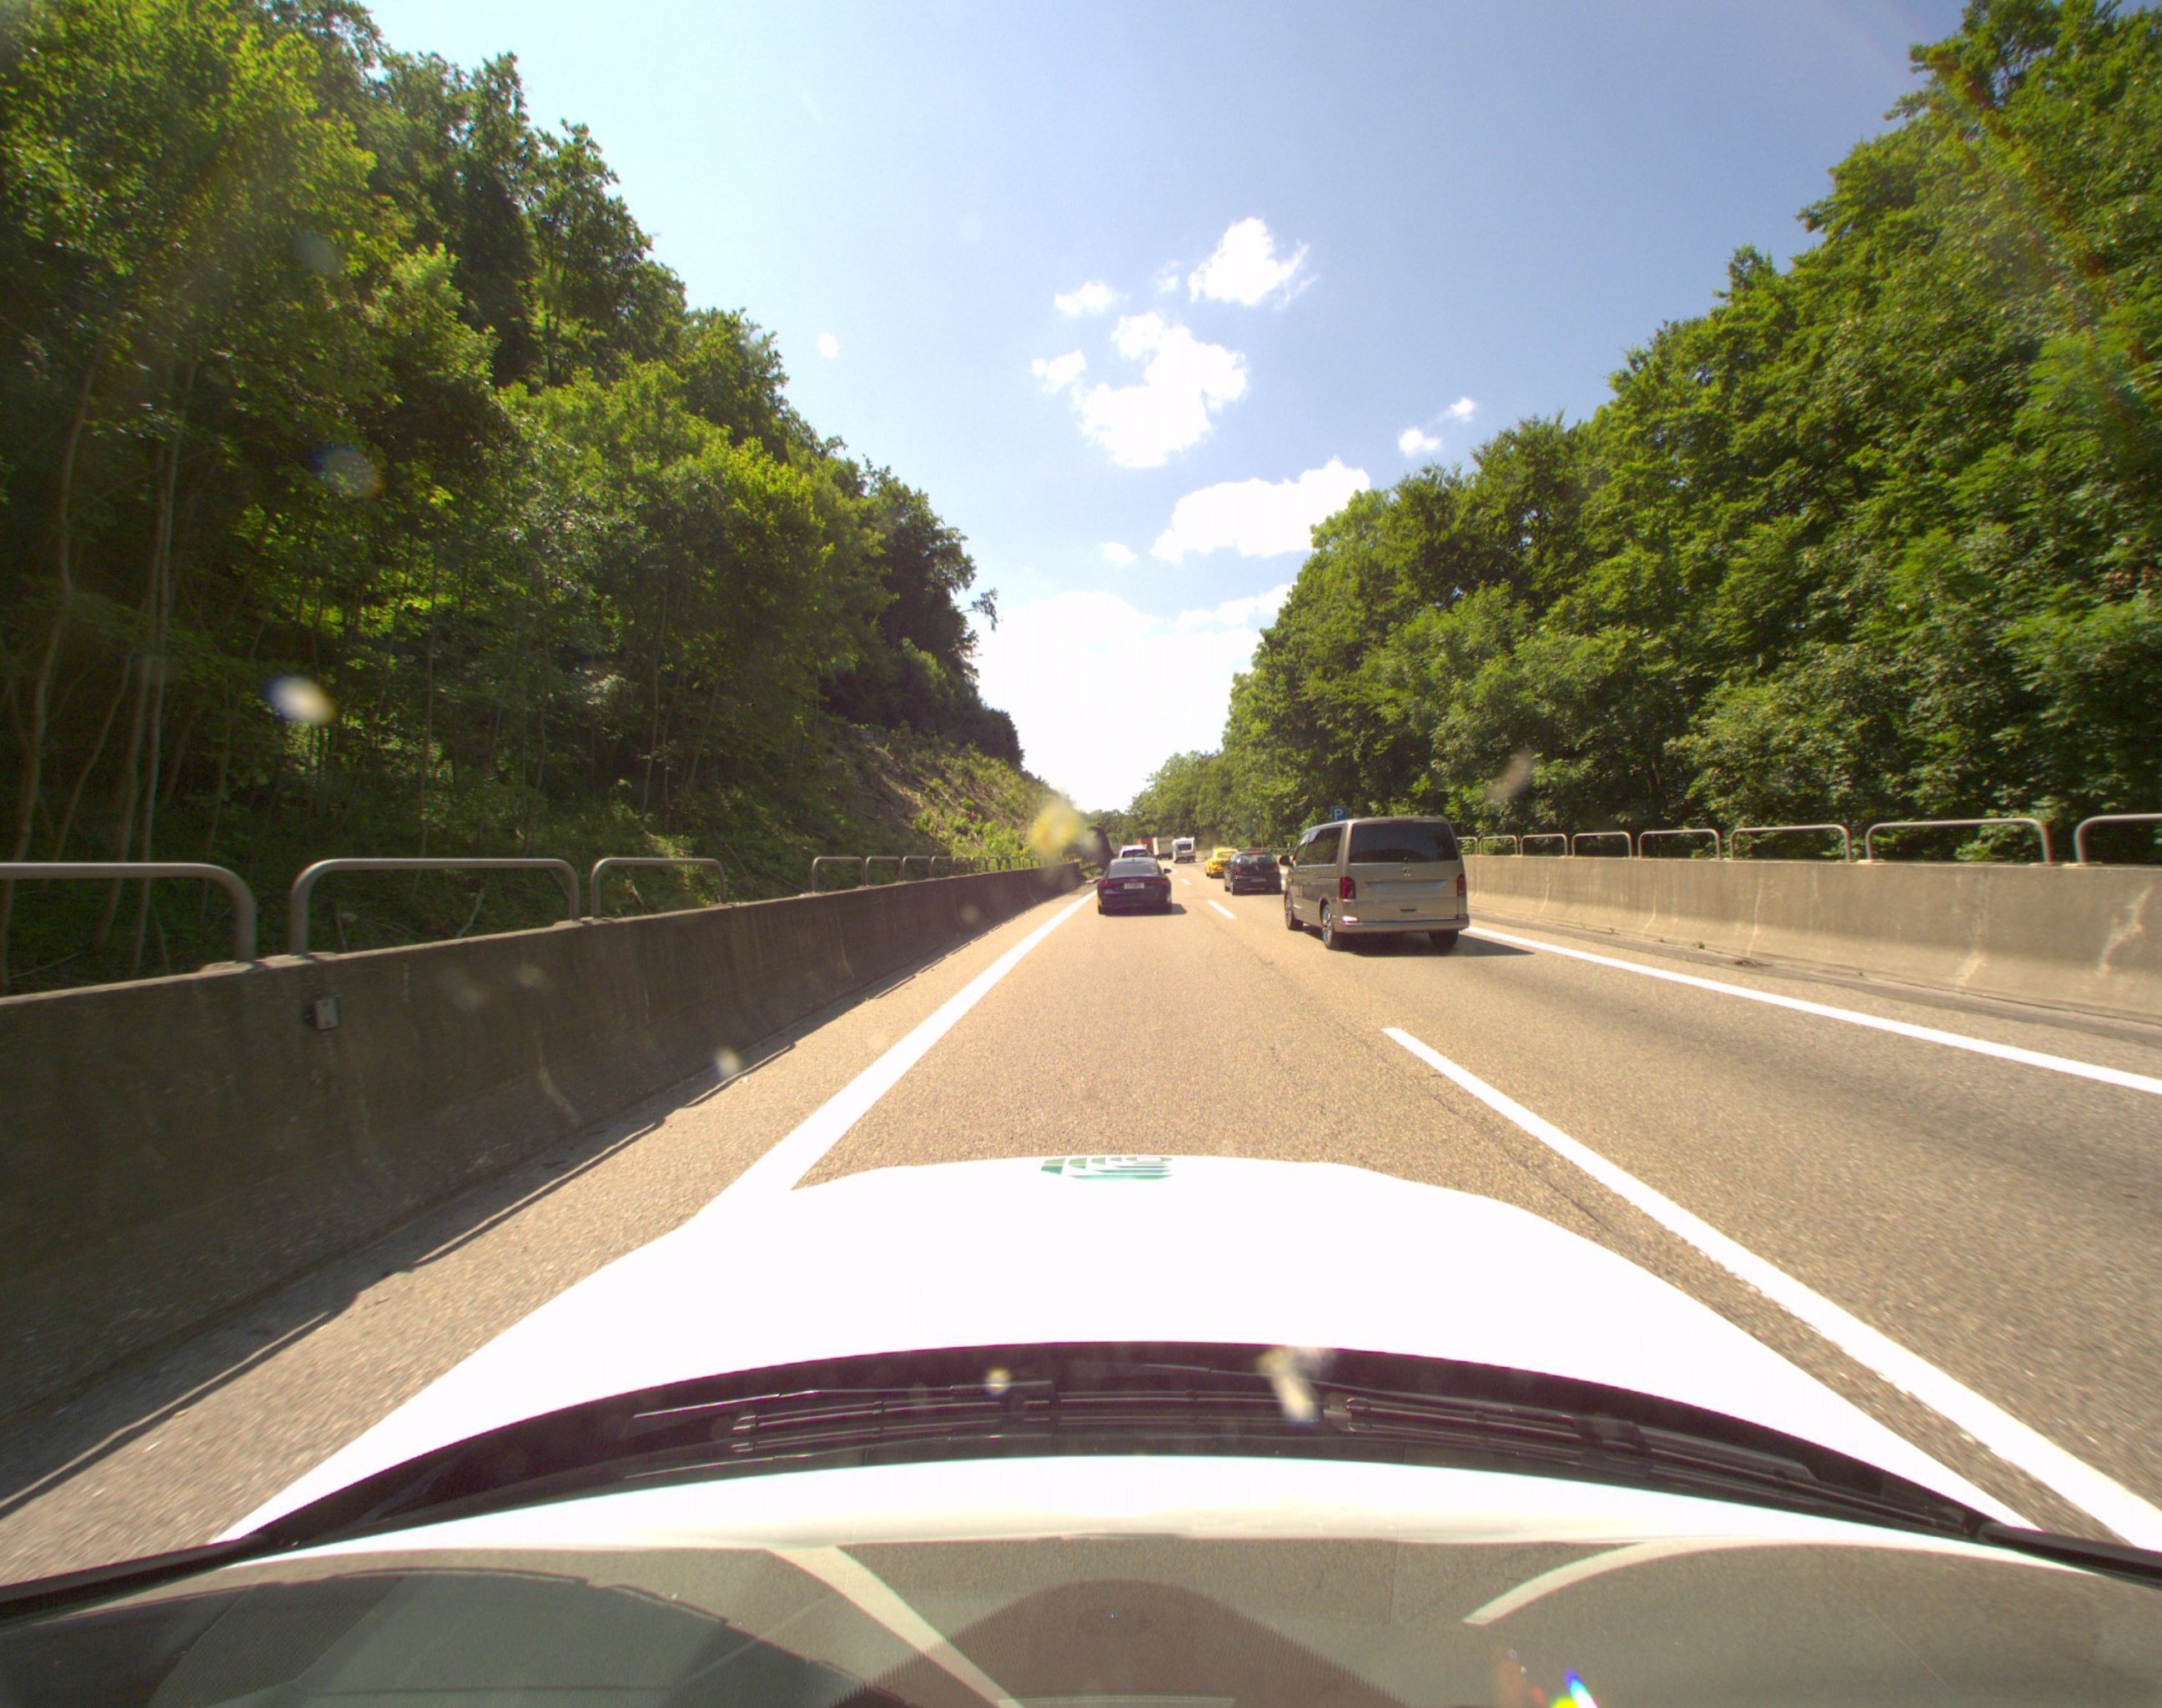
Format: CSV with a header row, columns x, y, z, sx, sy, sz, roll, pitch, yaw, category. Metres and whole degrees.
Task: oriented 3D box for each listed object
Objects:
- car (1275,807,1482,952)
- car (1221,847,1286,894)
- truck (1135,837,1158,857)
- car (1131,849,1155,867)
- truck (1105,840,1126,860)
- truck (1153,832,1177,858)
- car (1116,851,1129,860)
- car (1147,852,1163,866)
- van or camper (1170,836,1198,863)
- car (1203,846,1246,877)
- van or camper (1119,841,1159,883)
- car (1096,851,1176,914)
x,y,z,sx,sy,sz,roll,pitch,yaw,category
4.619,0.351,13.477,1.932,1.931,4.699,-2,0,4,car
5.843,0.522,28.030,1.677,1.458,4.005,-2,0,5,car
11.730,-1.198,146.266,3.154,3.468,8.218,-1,0,-1,truck
5.704,0.323,75.215,1.889,1.584,3.770,-1,0,0,car
7.930,-0.841,186.708,3.706,4.504,7.708,-1,0,-6,truck
12.811,-1.341,125.180,2.915,3.687,7.725,-1,0,1,truck
7.246,0.223,142.566,1.749,1.571,3.763,-1,0,-6,car
8.672,0.618,96.017,1.744,1.571,3.774,-2,0,3,car
11.289,-0.470,89.741,2.593,2.855,6.340,-1,0,3,van or camper
7.391,0.359,42.199,1.800,1.478,4.087,-2,0,5,car
2.931,0.356,40.615,1.845,1.942,4.171,-2,0,5,van or camper
1.434,0.687,21.965,1.897,1.489,4.382,-2,0,3,car
